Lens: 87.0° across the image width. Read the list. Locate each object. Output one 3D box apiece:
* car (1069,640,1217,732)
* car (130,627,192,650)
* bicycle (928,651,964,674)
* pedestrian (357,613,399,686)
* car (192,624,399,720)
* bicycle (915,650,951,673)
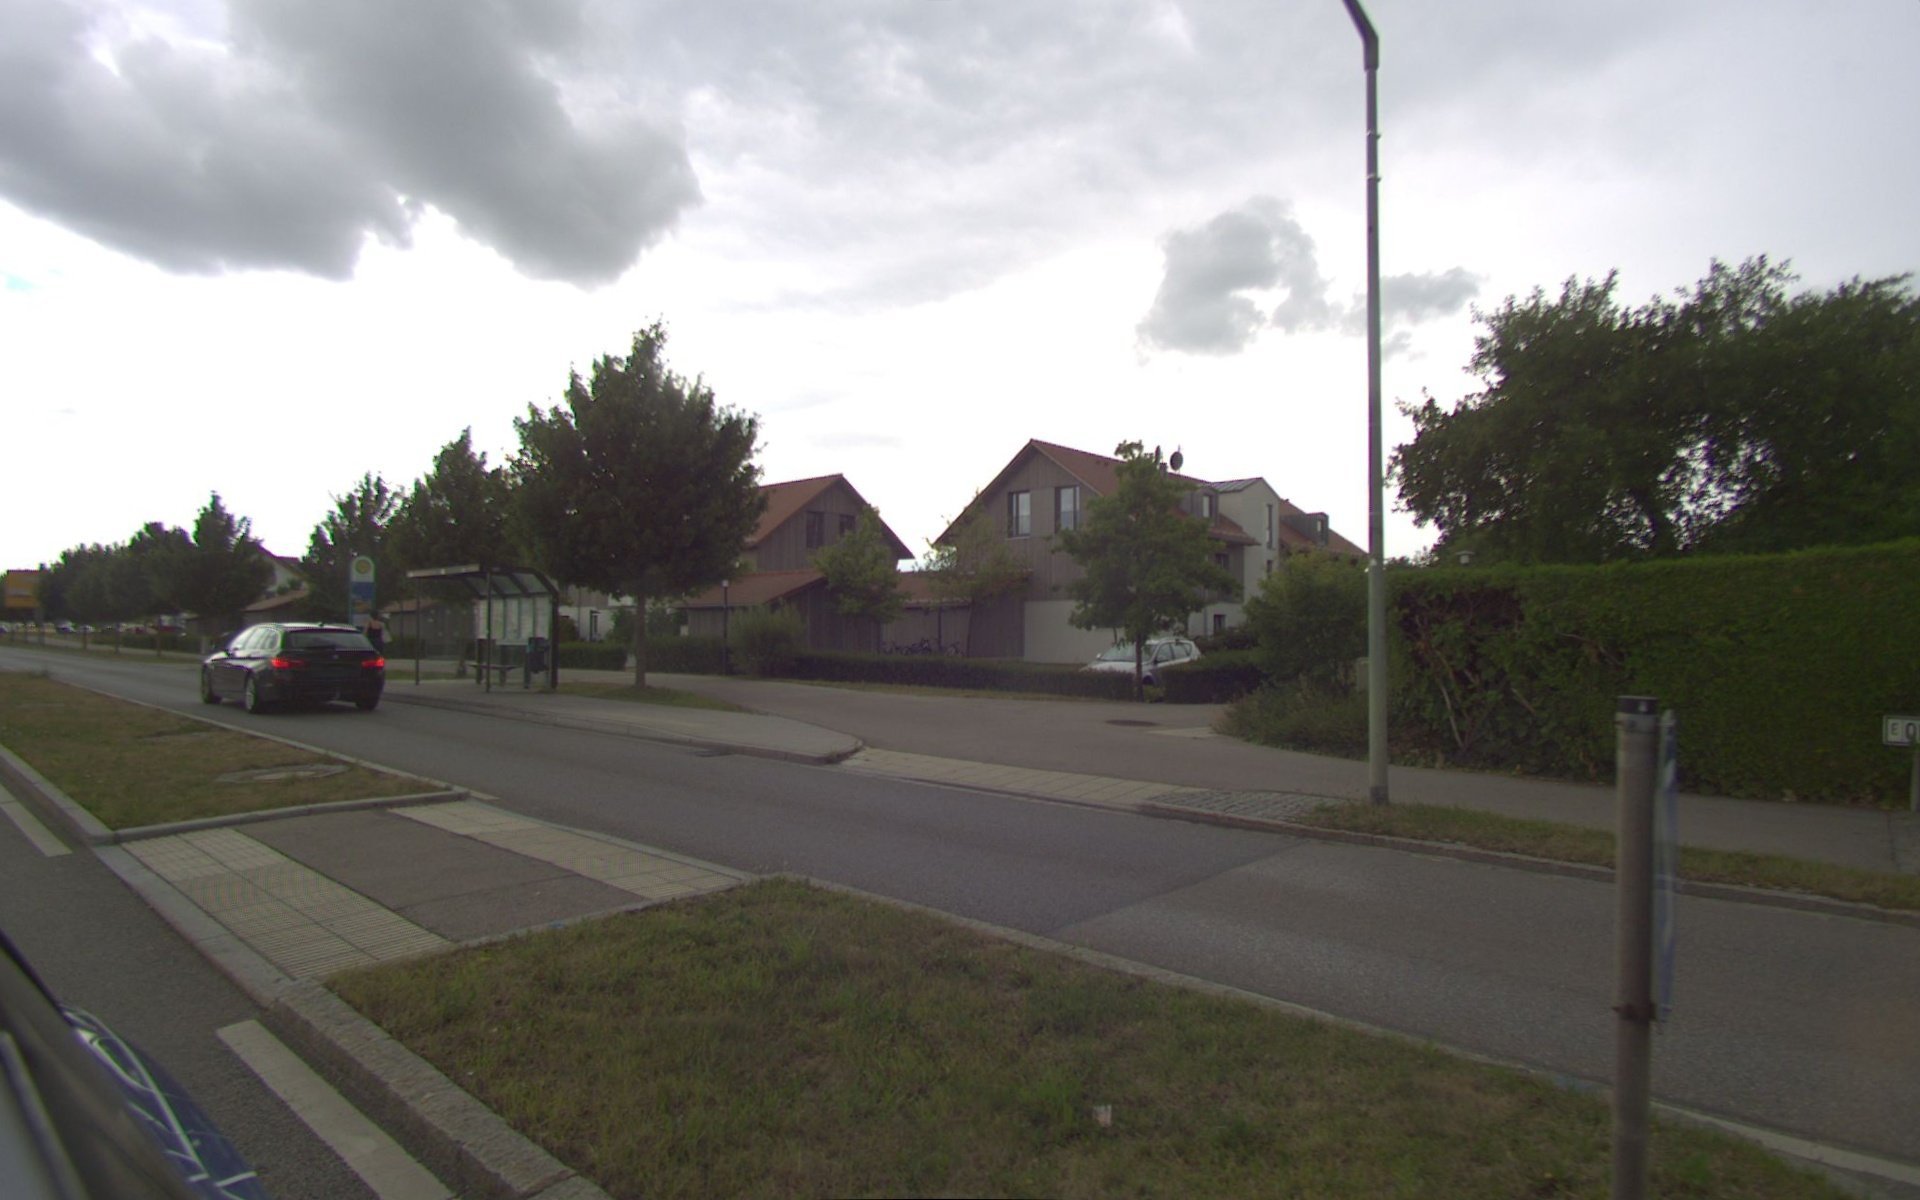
[{"bbox_3d":[4.584,2.028,25.016,1.998,2.029,3.948,-1,-2,38],"label":"car"},{"bbox_3d":[-76.831,3.697,97.368,2.001,2.029,4.506,-1,0,45],"label":"car"},{"bbox_3d":[-0.572,2.627,42.807,0.419,0.916,1.922,-1,-2,39],"label":"bicycle"},{"bbox_3d":[-13.526,1.138,23.499,0.812,1.649,0.582,-2,-2,40],"label":"pedestrian"},{"bbox_3d":[-11.658,1.172,17.640,4.494,1.465,1.900,-2,-3,42],"label":"car"},{"bbox_3d":[-1.158,2.632,43.335,0.419,0.916,1.922,-1,-2,39],"label":"bicycle"}]
